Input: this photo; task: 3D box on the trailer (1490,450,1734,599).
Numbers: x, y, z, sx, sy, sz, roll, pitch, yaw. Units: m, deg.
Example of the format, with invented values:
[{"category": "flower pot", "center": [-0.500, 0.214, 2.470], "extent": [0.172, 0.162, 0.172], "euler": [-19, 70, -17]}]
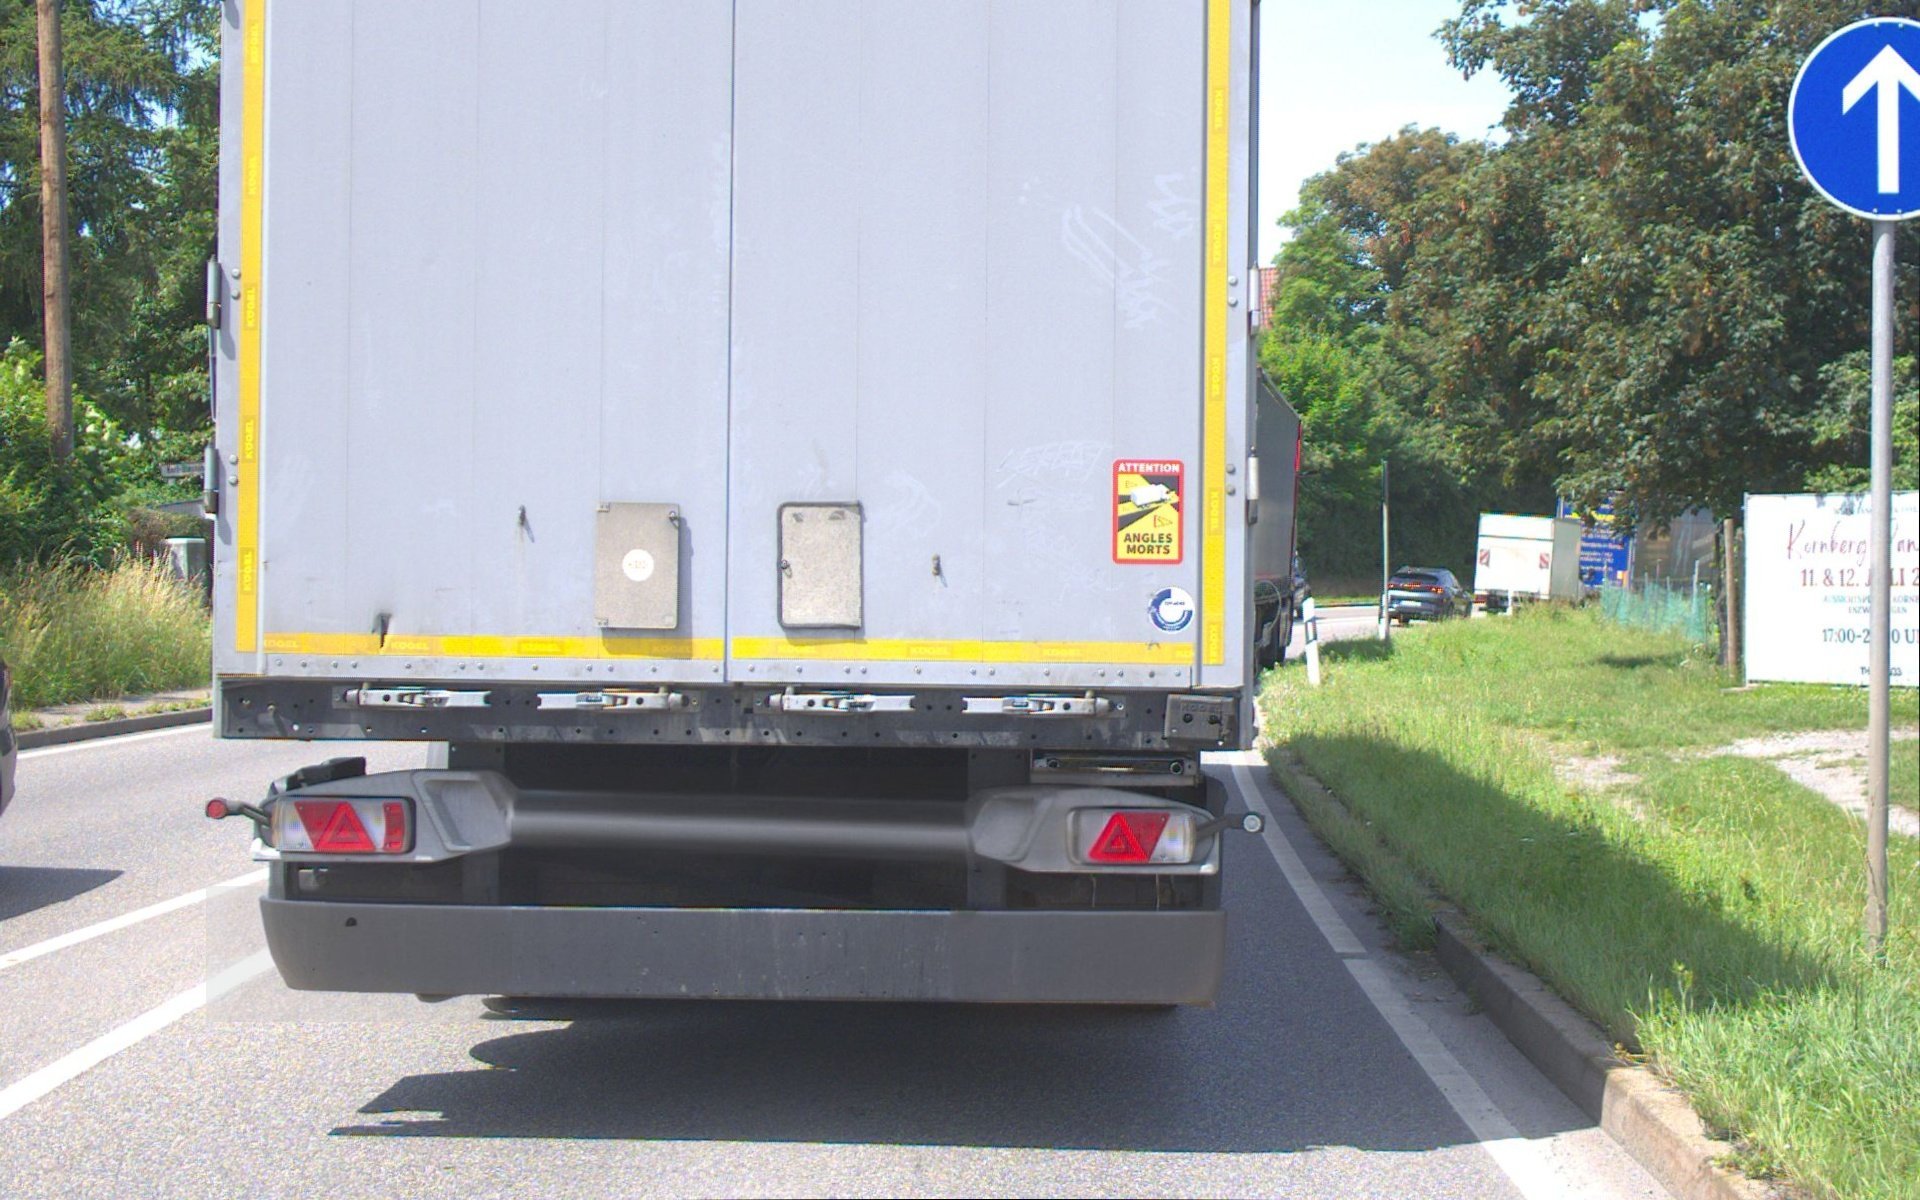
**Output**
[{"category": "trailer", "center": [21.993, -2.561, 114.705], "extent": [5.185, 4.612, 15.879], "euler": [1, 2, 21]}]

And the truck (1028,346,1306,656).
[{"category": "truck", "center": [3.398, -1.515, 54.224], "extent": [3.938, 4.559, 7.150], "euler": [0, 1, 7]}]

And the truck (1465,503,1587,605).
[{"category": "truck", "center": [16.334, -1.363, 98.974], "extent": [2.423, 2.828, 5.407], "euler": [1, 2, 21]}]

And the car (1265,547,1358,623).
[{"category": "car", "center": [8.930, -0.403, 87.026], "extent": [1.994, 1.831, 3.998], "euler": [1, 2, 11]}]

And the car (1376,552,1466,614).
[{"category": "car", "center": [11.807, -0.458, 87.886], "extent": [1.842, 1.481, 3.998], "euler": [1, 2, 14]}]

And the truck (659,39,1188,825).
[{"category": "truck", "center": [-0.003, -0.974, 21.323], "extent": [2.746, 4.151, 6.142], "euler": [1, 1, 4]}]

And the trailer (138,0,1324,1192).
[{"category": "trailer", "center": [-0.346, -0.873, 14.134], "extent": [2.787, 4.191, 12.111], "euler": [0, 1, 2]}]

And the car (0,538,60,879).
[{"category": "car", "center": [-4.955, 0.489, 12.818], "extent": [1.815, 1.412, 4.614], "euler": [0, 1, 2]}]

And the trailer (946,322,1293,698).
[{"category": "trailer", "center": [2.521, -1.265, 47.767], "extent": [3.892, 4.505, 12.711], "euler": [0, 2, 7]}]
